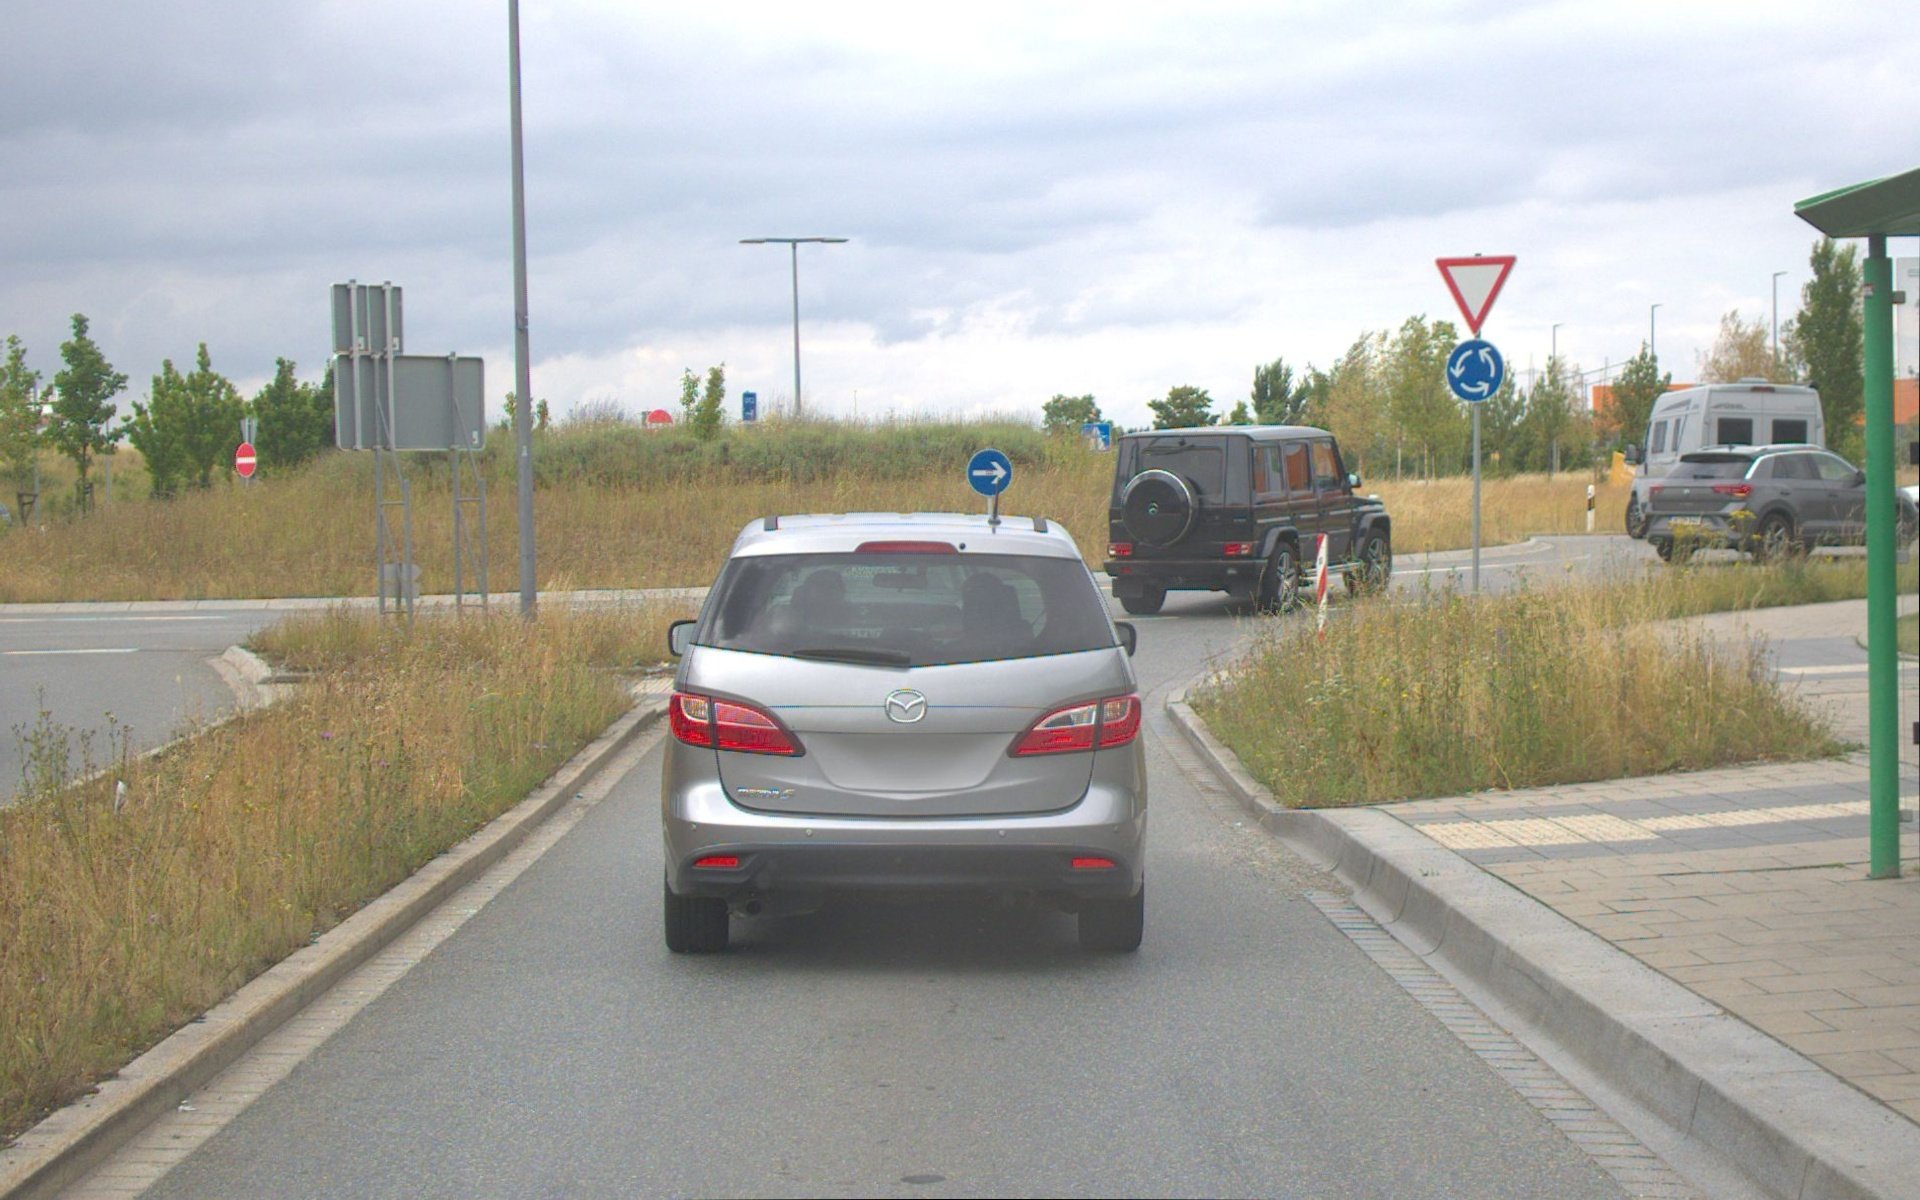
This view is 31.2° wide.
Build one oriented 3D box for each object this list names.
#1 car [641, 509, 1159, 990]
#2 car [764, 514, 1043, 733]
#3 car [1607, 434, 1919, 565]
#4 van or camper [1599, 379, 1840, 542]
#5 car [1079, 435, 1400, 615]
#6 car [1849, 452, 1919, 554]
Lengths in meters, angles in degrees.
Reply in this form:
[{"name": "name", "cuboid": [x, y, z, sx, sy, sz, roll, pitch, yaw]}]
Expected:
[{"name": "car", "cuboid": [-0.252, 0.455, 13.433, 1.729, 1.594, 3.807, 0, 2, -2]}, {"name": "car", "cuboid": [-0.331, 0.108, 25.186, 1.845, 1.413, 4.225, -1, 2, 1]}, {"name": "car", "cuboid": [10.793, -1.346, 45.621, 4.192, 1.587, 2.064, -4, 3, -38]}, {"name": "van or camper", "cuboid": [12.210, -2.230, 55.672, 2.302, 2.497, 5.207, -1, 2, -6]}, {"name": "car", "cuboid": [3.116, -0.816, 37.296, 2.061, 1.819, 4.780, 0, 1, 23]}, {"name": "car", "cuboid": [17.972, -1.708, 59.993, 4.604, 1.751, 1.999, 0, 1, 10]}]
